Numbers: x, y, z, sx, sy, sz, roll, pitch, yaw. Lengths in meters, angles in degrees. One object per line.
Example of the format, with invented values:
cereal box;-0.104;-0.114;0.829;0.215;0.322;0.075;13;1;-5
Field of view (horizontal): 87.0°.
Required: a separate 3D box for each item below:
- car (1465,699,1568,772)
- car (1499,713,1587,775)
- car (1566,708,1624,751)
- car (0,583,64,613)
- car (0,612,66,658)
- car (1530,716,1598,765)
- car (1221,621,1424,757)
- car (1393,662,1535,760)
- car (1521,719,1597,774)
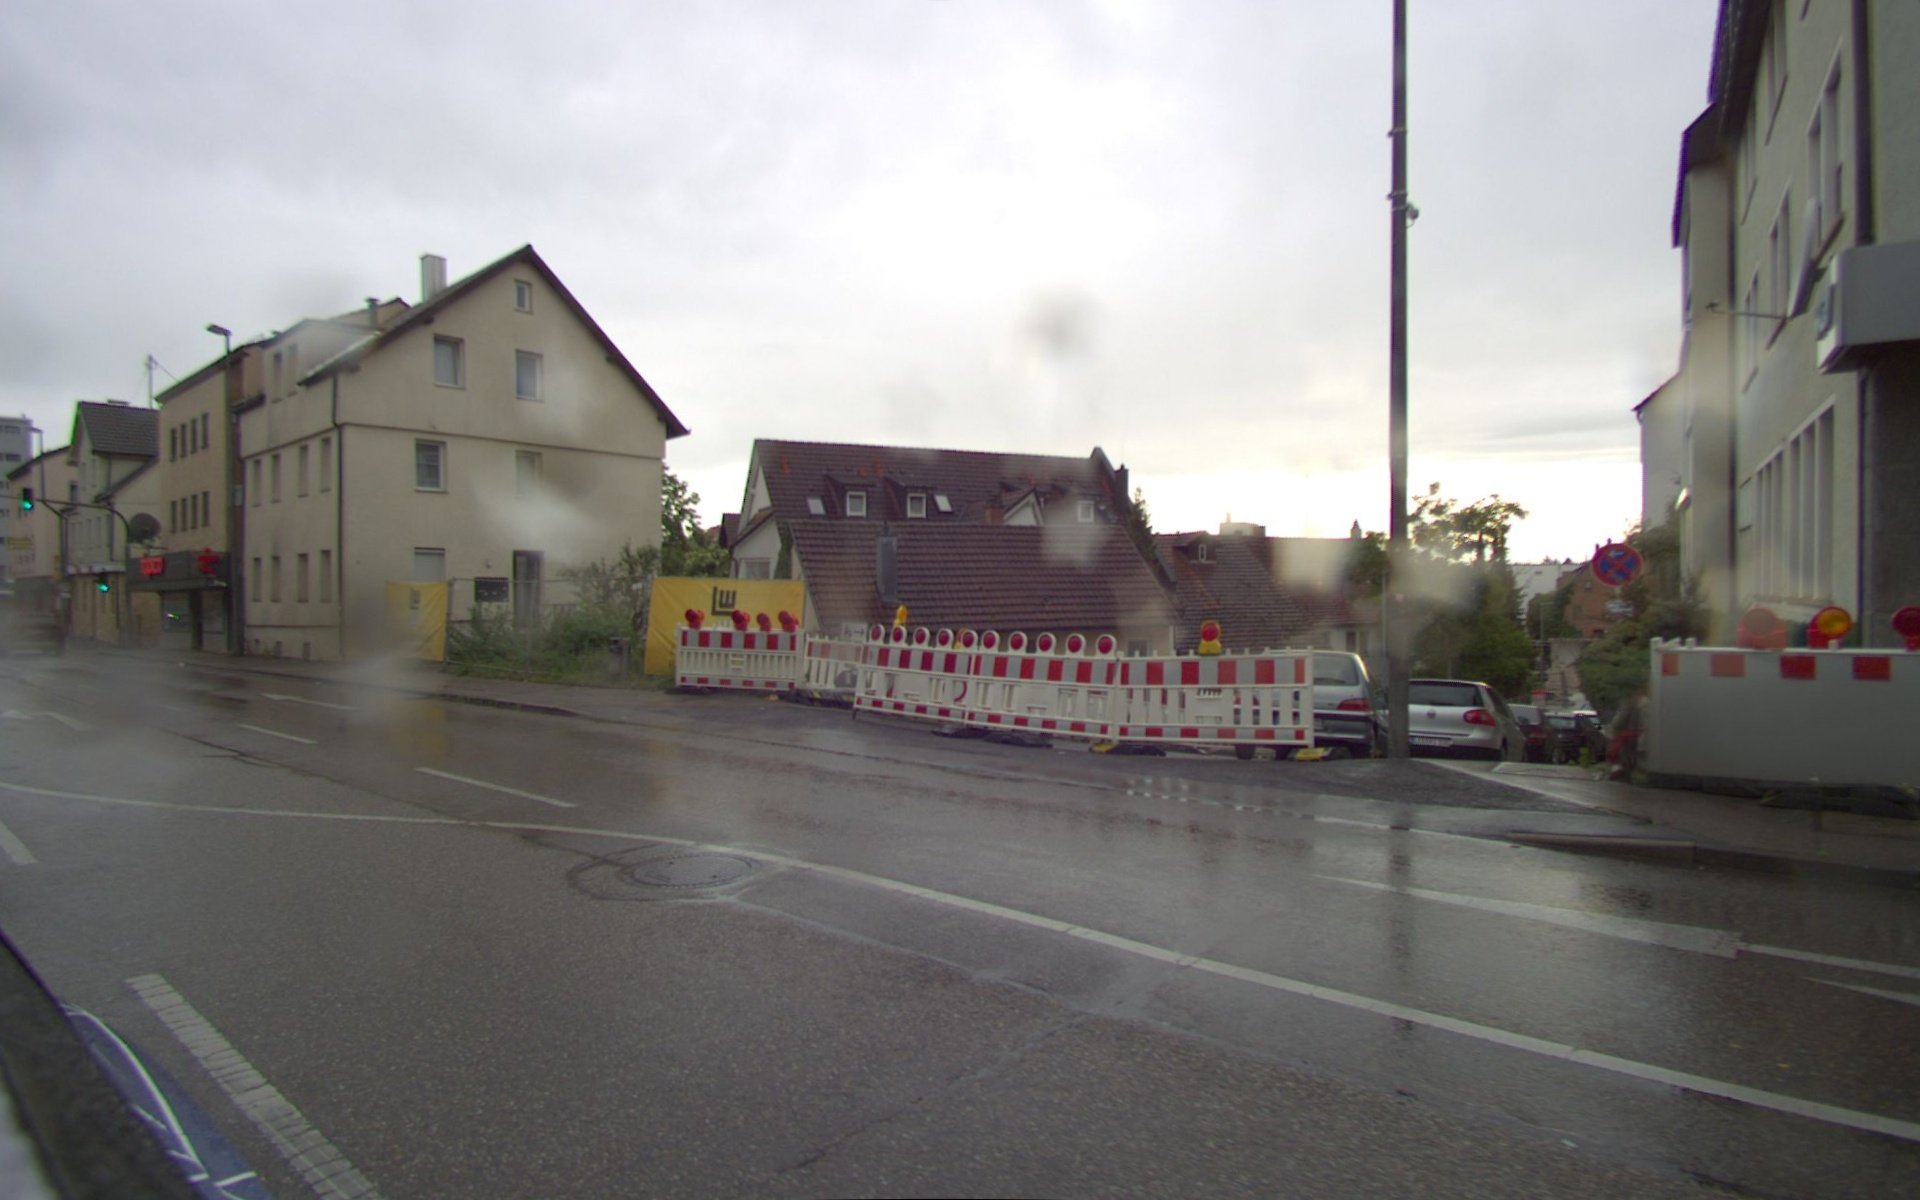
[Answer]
car;11.301;2.740;20.459;1.495;1.321;3.418;-3;-9;33
car;13.685;3.362;23.689;1.495;1.321;3.418;-3;-9;33
car;21.311;4.353;33.905;1.495;1.321;3.418;-3;-9;33
car;-83.852;-0.155;90.547;2.632;2.539;6.438;-2;1;-12
car;-34.015;1.240;36.779;4.274;1.583;1.797;-1;-1;41
car;17.950;4.174;30.029;1.495;1.321;3.418;-3;-9;33
car;4.516;1.165;12.348;1.645;1.401;3.473;-3;-9;31
car;7.784;1.734;15.499;1.495;1.321;3.418;-3;-9;33
car;15.914;3.864;26.819;1.495;1.321;3.418;-3;-9;33
